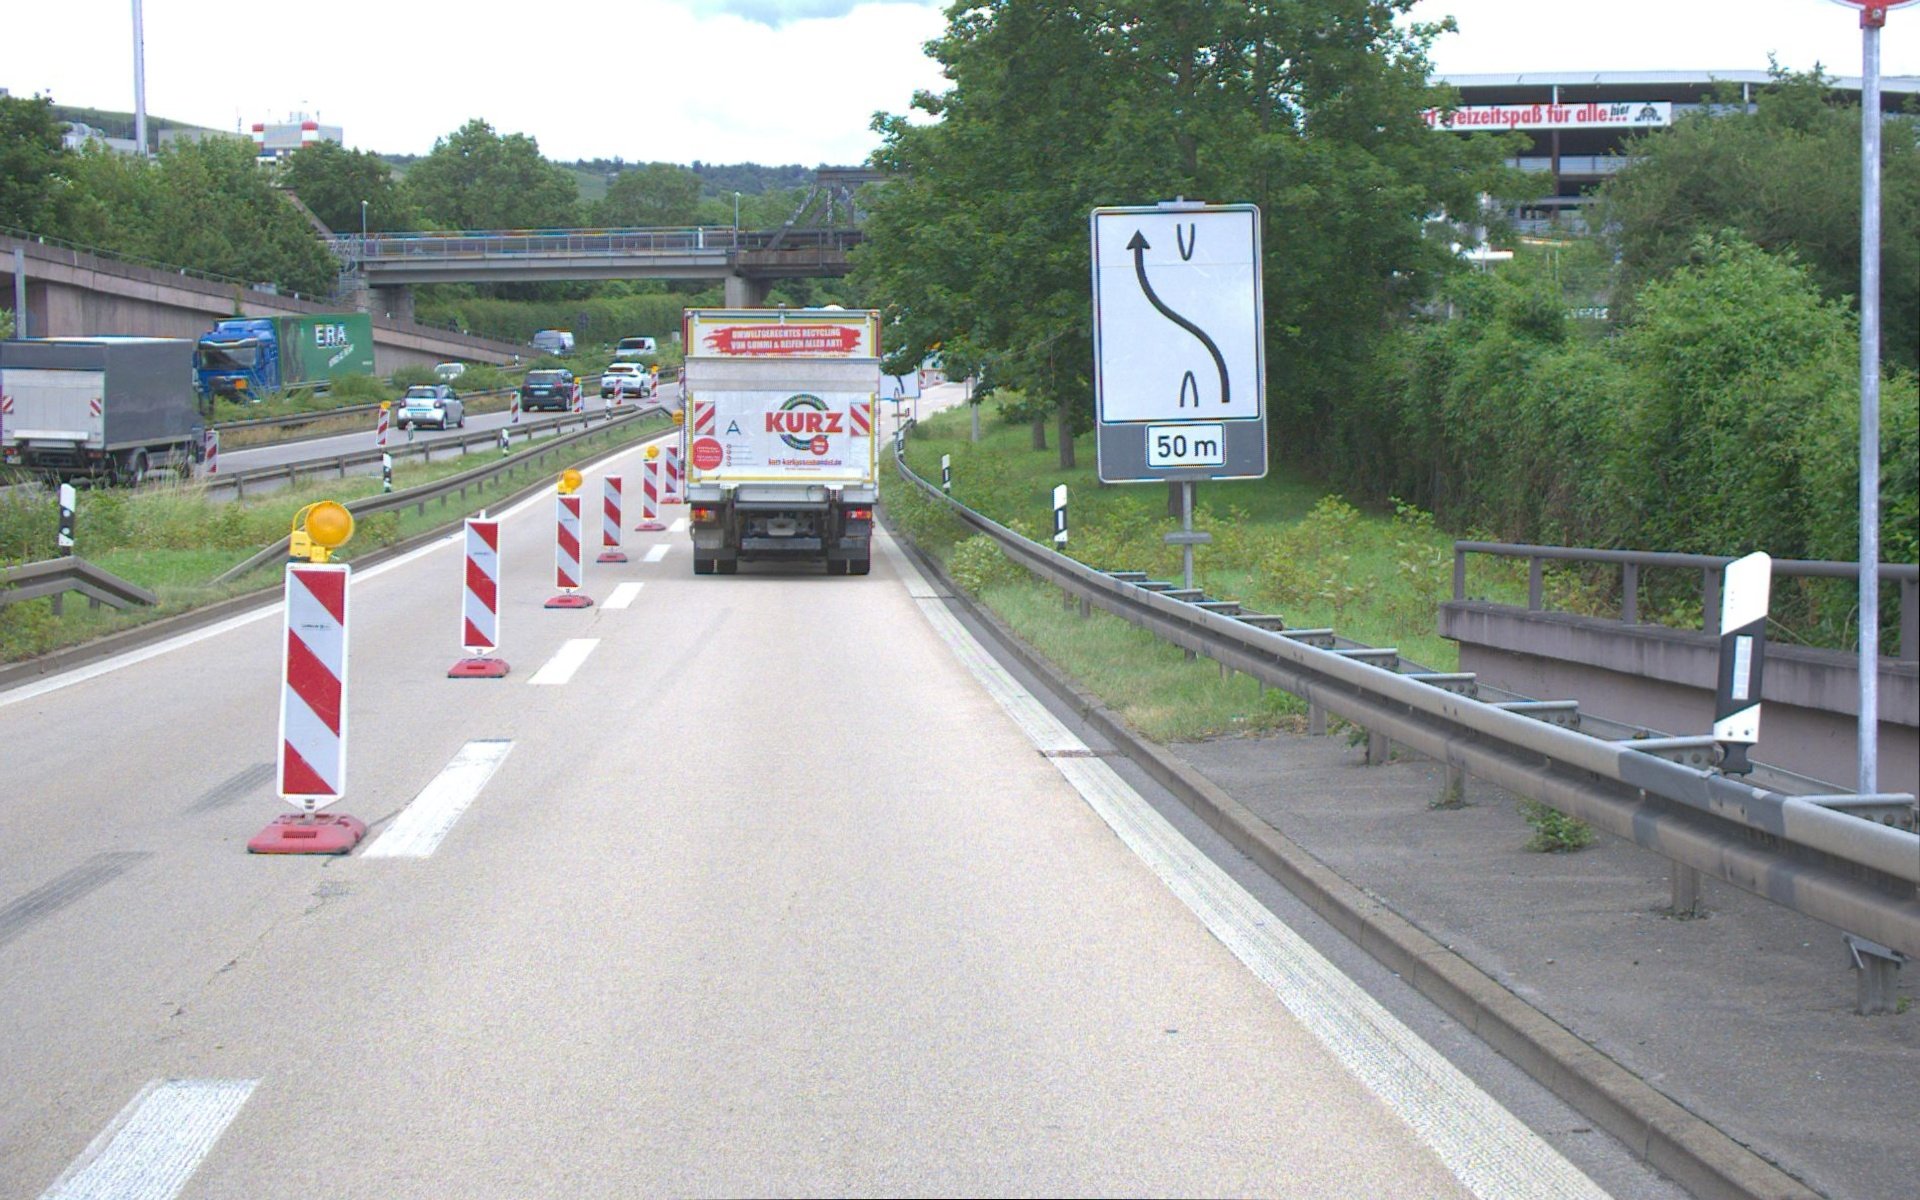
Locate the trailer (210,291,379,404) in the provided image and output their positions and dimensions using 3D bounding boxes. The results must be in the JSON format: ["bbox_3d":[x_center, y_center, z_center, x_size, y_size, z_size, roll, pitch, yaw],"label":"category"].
[{"bbox_3d":[-26.466,-10.116,137.640,2.772,4.278,13.980,0,4,5],"label":"trailer"}]

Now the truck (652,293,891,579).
[{"bbox_3d":[-2.597,-2.317,48.151,3.050,3.660,7.929,0,3,-3],"label":"truck"}]

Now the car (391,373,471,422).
[{"bbox_3d":[-18.226,-6.992,118.643,1.993,1.612,4.001,0,4,2],"label":"car"}]

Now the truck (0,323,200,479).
[{"bbox_3d":[-21.076,-4.926,83.969,3.051,3.643,7.397,0,4,3],"label":"truck"}]

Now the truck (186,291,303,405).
[{"bbox_3d":[-27.152,-9.583,130.670,2.753,4.256,5.503,0,4,6],"label":"truck"}]

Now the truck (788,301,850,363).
[{"bbox_3d":[-8.823,-16.776,215.431,3.286,3.838,7.666,0,4,2],"label":"truck"}]

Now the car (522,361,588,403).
[{"bbox_3d":[-16.046,-8.654,136.442,1.993,1.612,4.001,0,4,2],"label":"car"}]

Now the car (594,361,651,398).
[{"bbox_3d":[-14.895,-9.742,151.837,1.993,1.612,4.001,0,4,2],"label":"car"}]
